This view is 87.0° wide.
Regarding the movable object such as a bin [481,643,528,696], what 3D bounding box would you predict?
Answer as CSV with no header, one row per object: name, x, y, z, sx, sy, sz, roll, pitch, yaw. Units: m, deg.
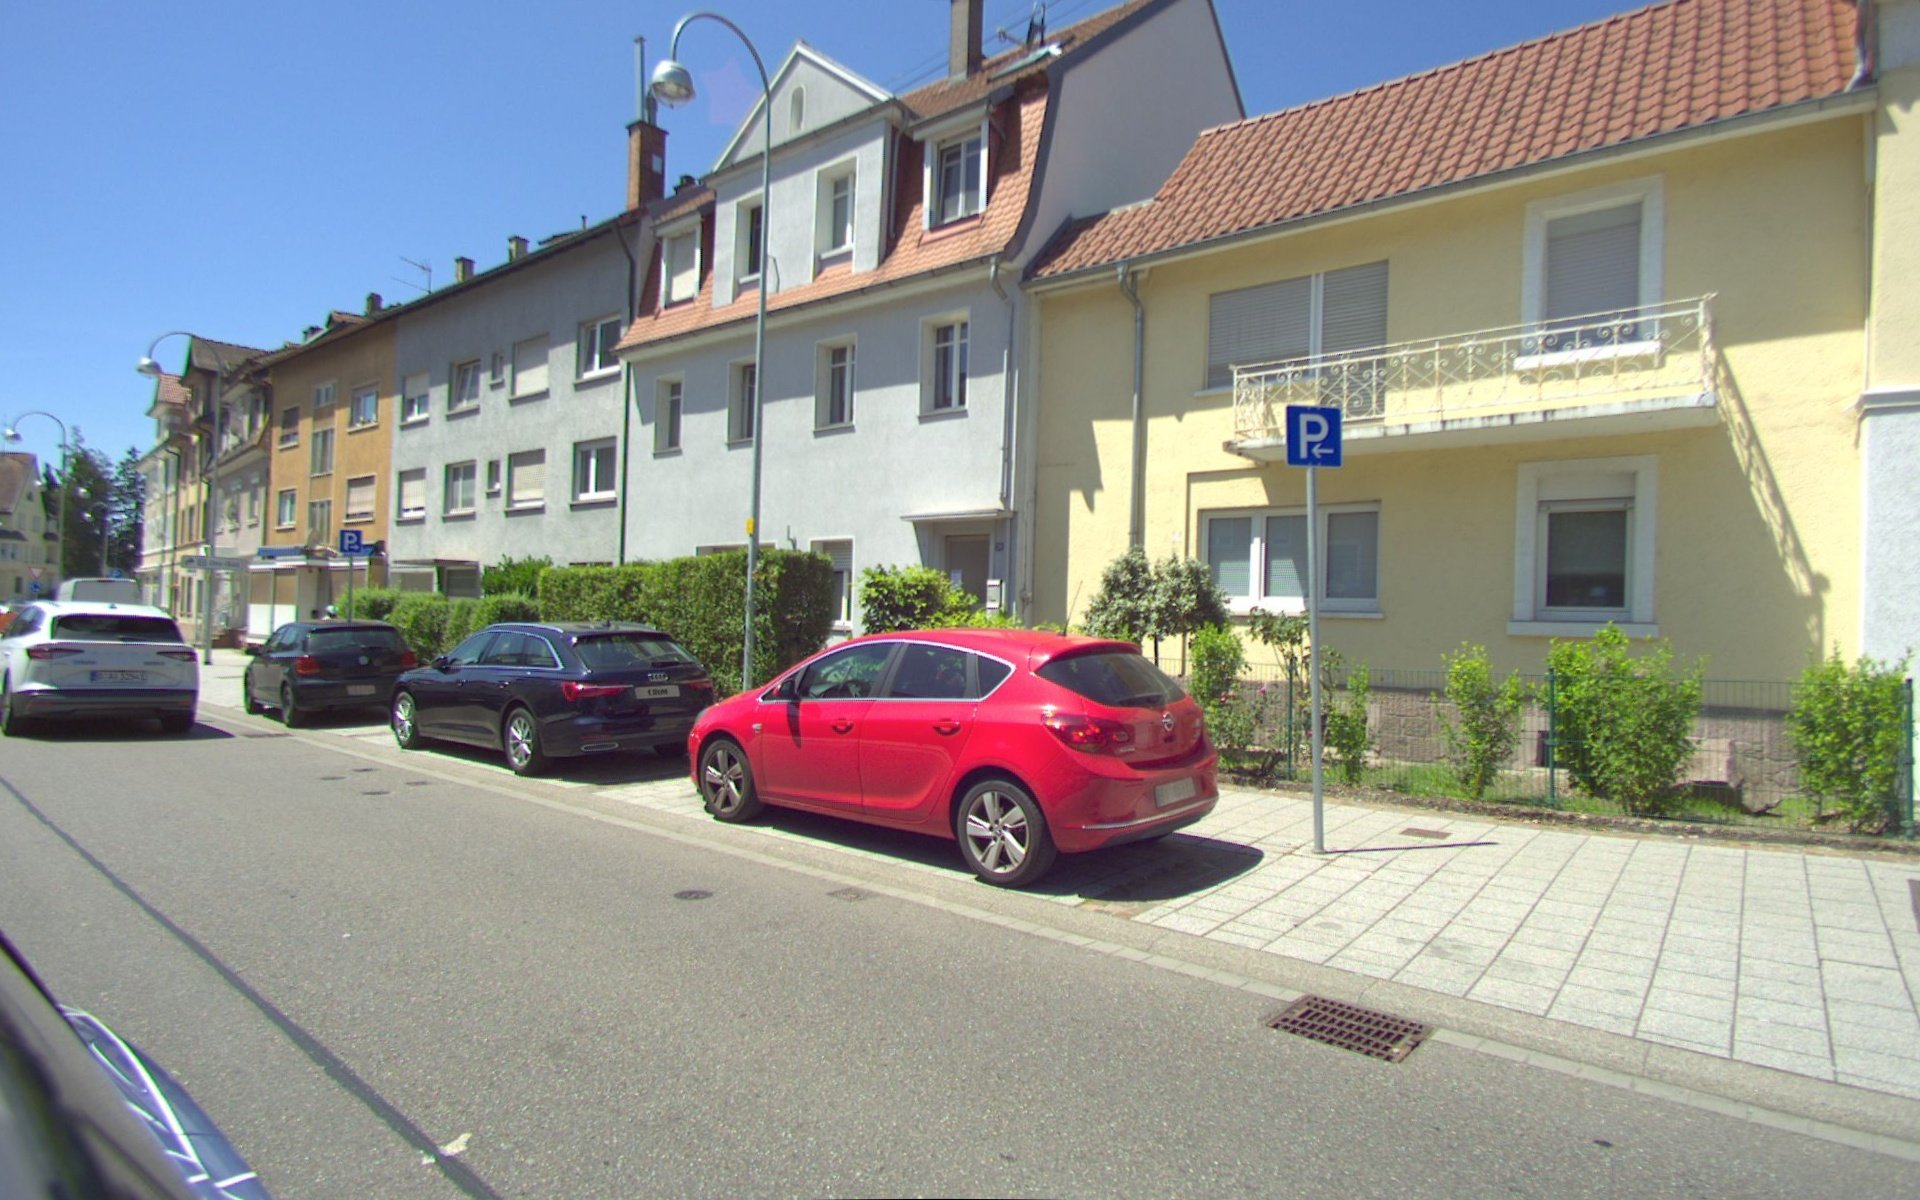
movable object such as a bin,-8.199,1.240,18.230,0.705,0.919,0.489,-1,-3,41

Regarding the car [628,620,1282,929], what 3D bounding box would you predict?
car,-0.312,0.924,7.385,4.735,1.491,1.858,0,0,41

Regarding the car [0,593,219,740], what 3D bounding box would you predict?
car,-11.483,0.792,13.195,4.355,1.609,1.859,0,-4,40

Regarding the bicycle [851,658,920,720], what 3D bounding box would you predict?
bicycle,-1.155,1.353,15.574,1.169,0.860,0.289,2,-1,40

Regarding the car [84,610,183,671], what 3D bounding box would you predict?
car,-24.203,1.142,29.627,2.059,1.627,5.117,1,-2,-40

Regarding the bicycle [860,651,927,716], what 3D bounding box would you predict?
bicycle,-1.046,1.282,15.707,1.163,0.914,0.230,2,-1,39

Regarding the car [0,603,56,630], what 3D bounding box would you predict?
car,-54.922,1.002,59.231,1.707,1.422,4.013,4,-4,-23

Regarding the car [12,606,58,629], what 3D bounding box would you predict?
car,-66.142,1.255,72.348,4.387,1.500,1.777,1,0,40

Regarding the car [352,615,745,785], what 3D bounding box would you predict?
car,-4.779,0.923,11.267,5.303,1.473,1.844,-1,-1,41

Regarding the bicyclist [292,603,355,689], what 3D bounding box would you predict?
bicyclist,-12.696,0.916,20.205,0.834,1.672,0.774,0,-3,39

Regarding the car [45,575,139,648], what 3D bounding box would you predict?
car,-32.172,0.415,37.447,6.119,2.468,2.095,0,-1,44

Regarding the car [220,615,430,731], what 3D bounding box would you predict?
car,-9.604,0.978,15.163,4.199,1.470,1.767,-1,0,45
